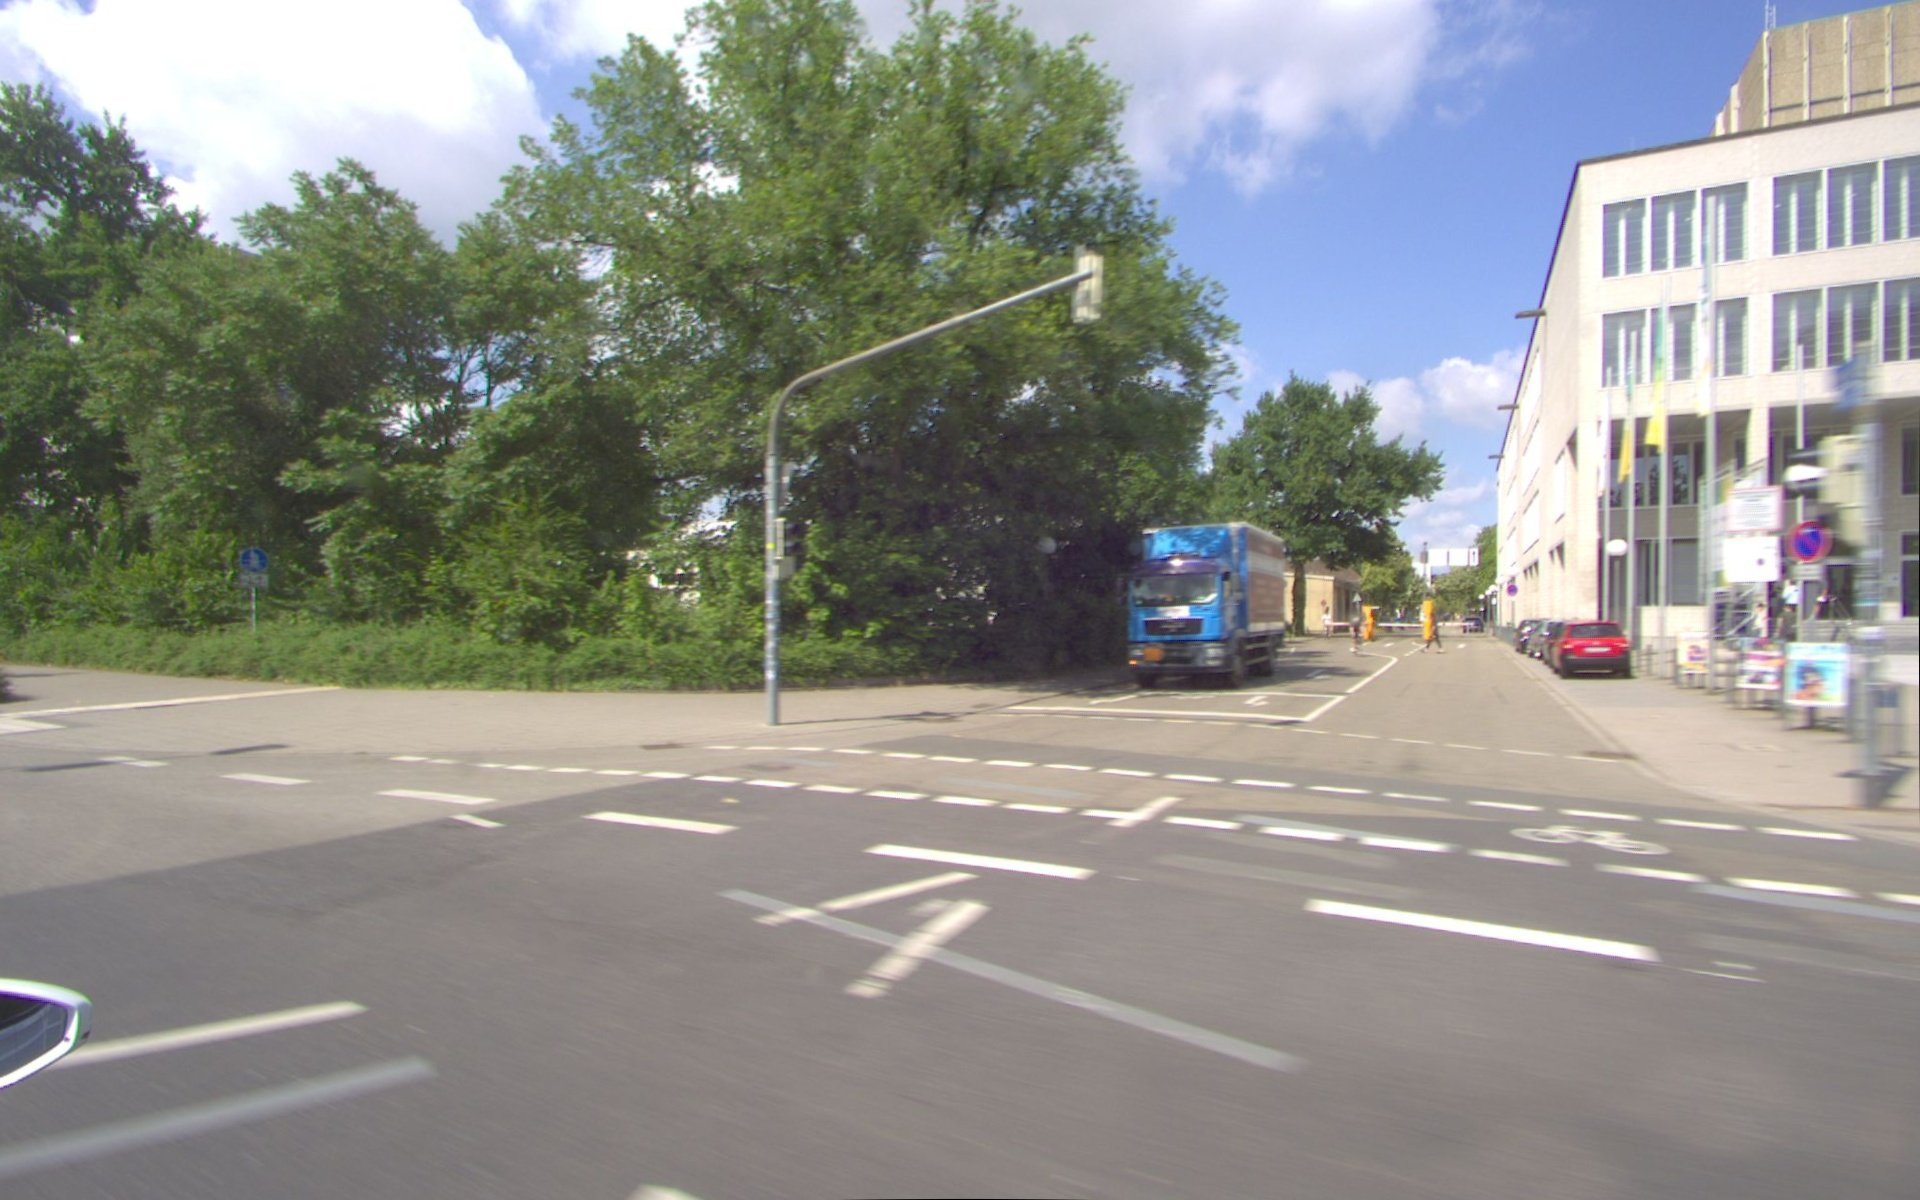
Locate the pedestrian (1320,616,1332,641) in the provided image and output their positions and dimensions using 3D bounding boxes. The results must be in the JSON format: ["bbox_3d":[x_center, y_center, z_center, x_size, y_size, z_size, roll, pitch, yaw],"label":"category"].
[{"bbox_3d":[24.773,1.911,67.729,0.708,1.705,0.680,0,0,25],"label":"pedestrian"}]

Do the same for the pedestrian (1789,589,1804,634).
[{"bbox_3d":[31.533,0.427,37.754,0.380,1.670,0.402,0,0,32],"label":"pedestrian"}]

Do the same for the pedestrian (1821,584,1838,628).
[{"bbox_3d":[32.785,0.236,37.768,0.398,1.670,0.384,0,0,29],"label":"pedestrian"}]

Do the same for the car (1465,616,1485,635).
[{"bbox_3d":[49.418,2.468,96.131,1.635,1.794,3.987,0,-2,27],"label":"car"}]

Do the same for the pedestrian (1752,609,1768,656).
[{"bbox_3d":[28.768,1.171,36.011,0.398,1.670,0.384,0,0,30],"label":"pedestrian"}]

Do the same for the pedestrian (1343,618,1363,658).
[{"bbox_3d":[15.625,1.494,39.810,0.671,1.577,0.718,0,0,24],"label":"pedestrian"}]

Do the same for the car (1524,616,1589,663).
[{"bbox_3d":[21.804,1.406,36.729,1.757,1.634,3.986,0,-1,27],"label":"car"}]

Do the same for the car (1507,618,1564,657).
[{"bbox_3d":[24.582,1.567,42.870,1.781,1.588,3.988,0,-1,25],"label":"car"}]

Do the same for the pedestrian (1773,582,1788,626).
[{"bbox_3d":[32.006,0.161,39.054,0.380,1.670,0.403,0,0,29],"label":"pedestrian"}]

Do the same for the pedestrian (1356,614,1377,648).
[{"bbox_3d":[24.338,1.846,59.926,1.044,2.040,0.821,0,0,29],"label":"pedestrian"}]

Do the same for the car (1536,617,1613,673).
[{"bbox_3d":[19.365,1.384,31.705,1.757,1.634,3.986,0,-1,27],"label":"car"}]

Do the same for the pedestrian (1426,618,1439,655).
[{"bbox_3d":[20.369,1.565,43.175,0.472,1.577,0.373,0,0,21],"label":"pedestrian"}]

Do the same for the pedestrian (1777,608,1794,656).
[{"bbox_3d":[28.760,1.111,34.901,0.398,1.670,0.384,0,0,30],"label":"pedestrian"}]

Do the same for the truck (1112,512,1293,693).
[{"bbox_3d":[6.887,0.138,26.945,2.734,3.932,10.109,-1,-1,25],"label":"truck"}]

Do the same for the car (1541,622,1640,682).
[{"bbox_3d":[16.994,1.365,27.156,1.694,1.498,3.989,-2,-2,24],"label":"car"}]
